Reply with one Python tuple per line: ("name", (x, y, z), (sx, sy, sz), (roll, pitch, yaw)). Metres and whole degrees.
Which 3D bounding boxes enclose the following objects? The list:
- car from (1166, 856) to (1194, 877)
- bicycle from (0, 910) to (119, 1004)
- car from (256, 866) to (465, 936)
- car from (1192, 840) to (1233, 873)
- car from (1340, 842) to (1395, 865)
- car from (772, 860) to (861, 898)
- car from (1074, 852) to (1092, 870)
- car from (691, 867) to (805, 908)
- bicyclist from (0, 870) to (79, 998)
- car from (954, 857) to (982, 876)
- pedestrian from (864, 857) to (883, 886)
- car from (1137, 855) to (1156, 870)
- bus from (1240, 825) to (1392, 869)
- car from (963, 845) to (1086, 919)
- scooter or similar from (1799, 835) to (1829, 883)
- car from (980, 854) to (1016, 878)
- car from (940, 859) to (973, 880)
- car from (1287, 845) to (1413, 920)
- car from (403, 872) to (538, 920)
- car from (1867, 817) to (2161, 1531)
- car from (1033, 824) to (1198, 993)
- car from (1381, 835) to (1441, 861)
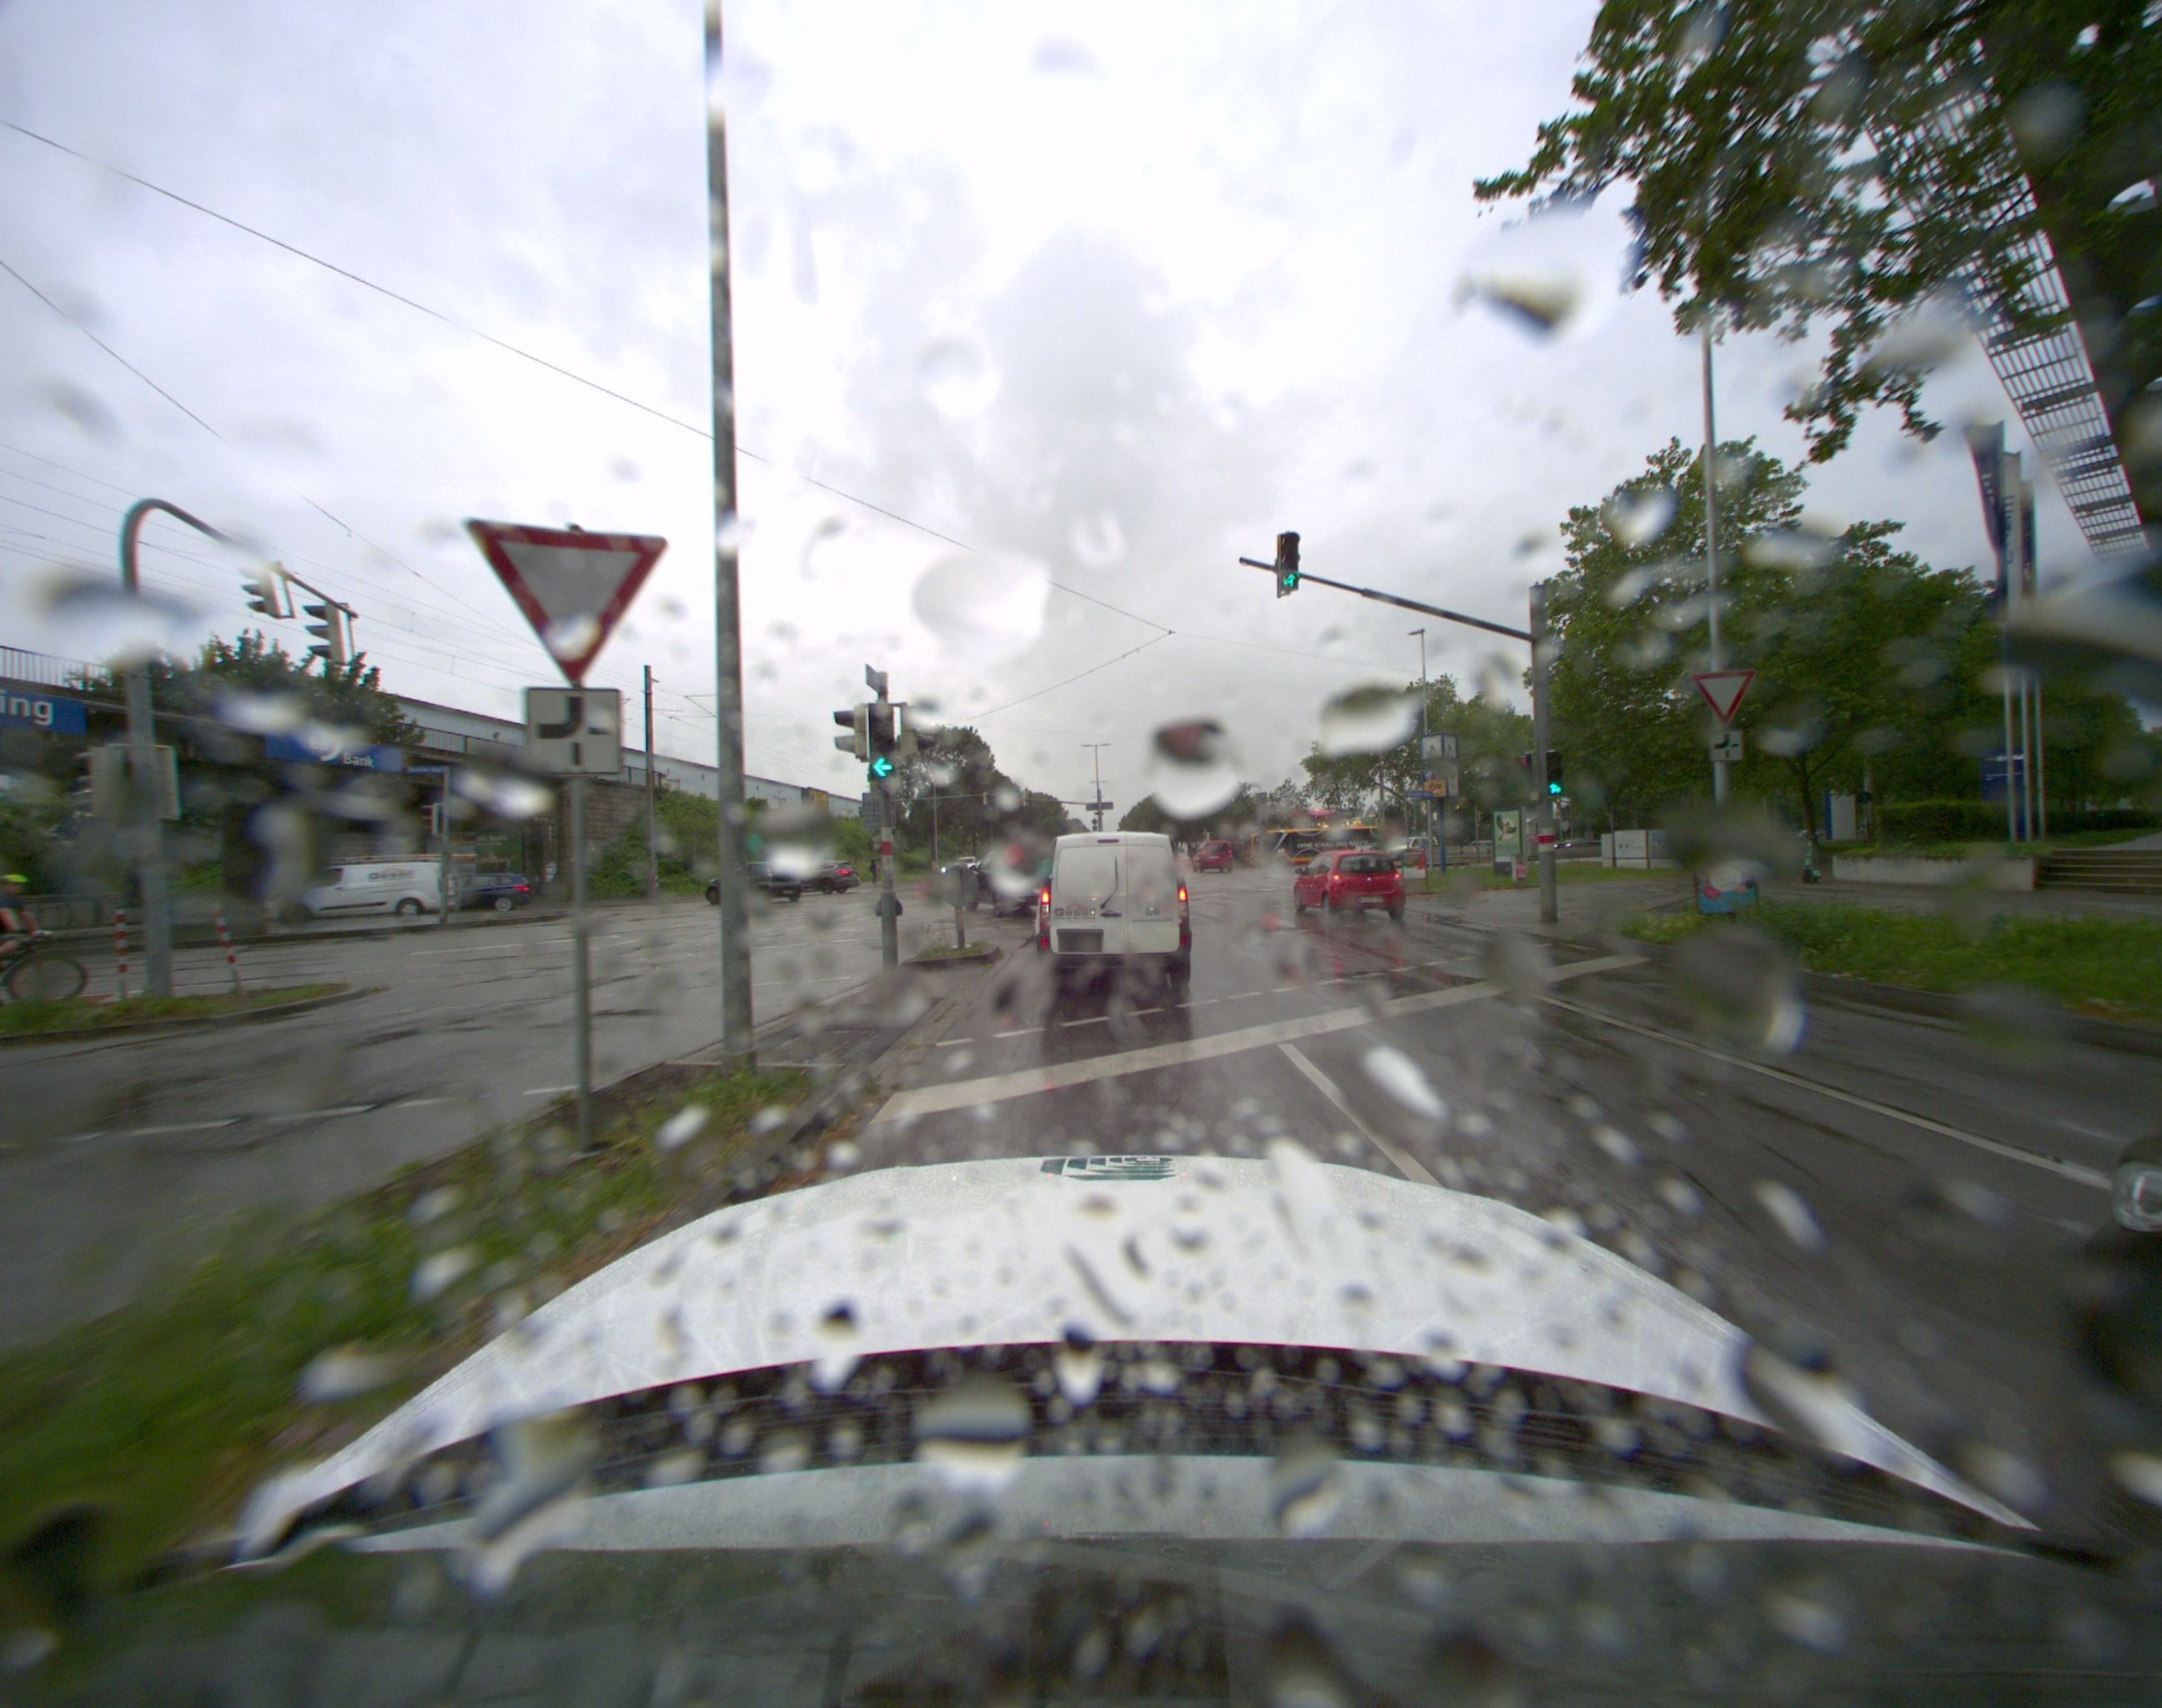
("car", (7.740, 0.965, 63.959), (1.835, 1.618, 4.002), (0, 0, 2))
("bicycle", (-13.806, 1.328, 10.348), (1.919, 1.094, 0.688), (-1, 0, -31))
("car", (-24.358, 1.513, 27.787), (4.822, 1.955, 1.986), (-3, 1, -20))
("car", (6.876, 0.110, 42.812), (1.627, 1.655, 3.485), (0, 0, 1))
("car", (22.712, -0.025, 64.521), (4.361, 1.651, 1.912), (-2, 0, -36))
("car", (-11.576, 1.071, 35.804), (3.332, 1.473, 1.569), (-2, 0, 1))
("car", (0.191, 0.678, 82.306), (1.596, 1.720, 3.997), (-2, 0, -2))
("car", (-11.827, 1.187, 28.965), (3.421, 1.306, 1.590), (-2, 0, 16))
("bicyclist", (-13.780, 1.002, 10.371), (1.050, 1.593, 0.797), (0, -1, -31))
("car", (-9.399, 1.028, 67.828), (1.822, 1.482, 3.997), (-2, 0, -2))
("pedestrian", (-12.989, 1.085, 51.104), (1.001, 1.719, 0.818), (-2, 0, -7))
("car", (7.869, 0.986, 97.878), (1.990, 1.618, 4.000), (-2, 0, 0))
("bus", (20.236, -0.620, 70.739), (12.208, 3.268, 3.275), (-2, 0, 0))
("car", (-1.549, 0.656, 20.752), (1.926, 1.609, 3.969), (-2, 0, -23))
("scooter or similar", (18.165, 0.118, 20.164), (1.181, 1.138, 0.337), (-3, 0, -39))
("car", (-6.401, 0.895, 63.212), (2.013, 1.657, 4.066), (-2, 0, 4))
("car", (-9.341, 1.147, 61.479), (1.887, 1.349, 3.998), (-2, 0, -1))
("car", (5.913, 0.583, 18.335), (1.673, 1.491, 3.622), (-1, 0, 1))
("car", (-24.037, 1.623, 32.261), (3.954, 1.618, 1.982), (-2, 0, -28))
("car", (3.150, 0.654, 0.296), (1.863, 1.523, 4.090), (-2, 0, 2))
("car", (0.290, 0.577, 10.699), (1.752, 1.777, 3.996), (-1, 0, -3))
("car", (25.684, -0.480, 63.307), (4.767, 1.849, 2.055), (-2, 0, -36))
